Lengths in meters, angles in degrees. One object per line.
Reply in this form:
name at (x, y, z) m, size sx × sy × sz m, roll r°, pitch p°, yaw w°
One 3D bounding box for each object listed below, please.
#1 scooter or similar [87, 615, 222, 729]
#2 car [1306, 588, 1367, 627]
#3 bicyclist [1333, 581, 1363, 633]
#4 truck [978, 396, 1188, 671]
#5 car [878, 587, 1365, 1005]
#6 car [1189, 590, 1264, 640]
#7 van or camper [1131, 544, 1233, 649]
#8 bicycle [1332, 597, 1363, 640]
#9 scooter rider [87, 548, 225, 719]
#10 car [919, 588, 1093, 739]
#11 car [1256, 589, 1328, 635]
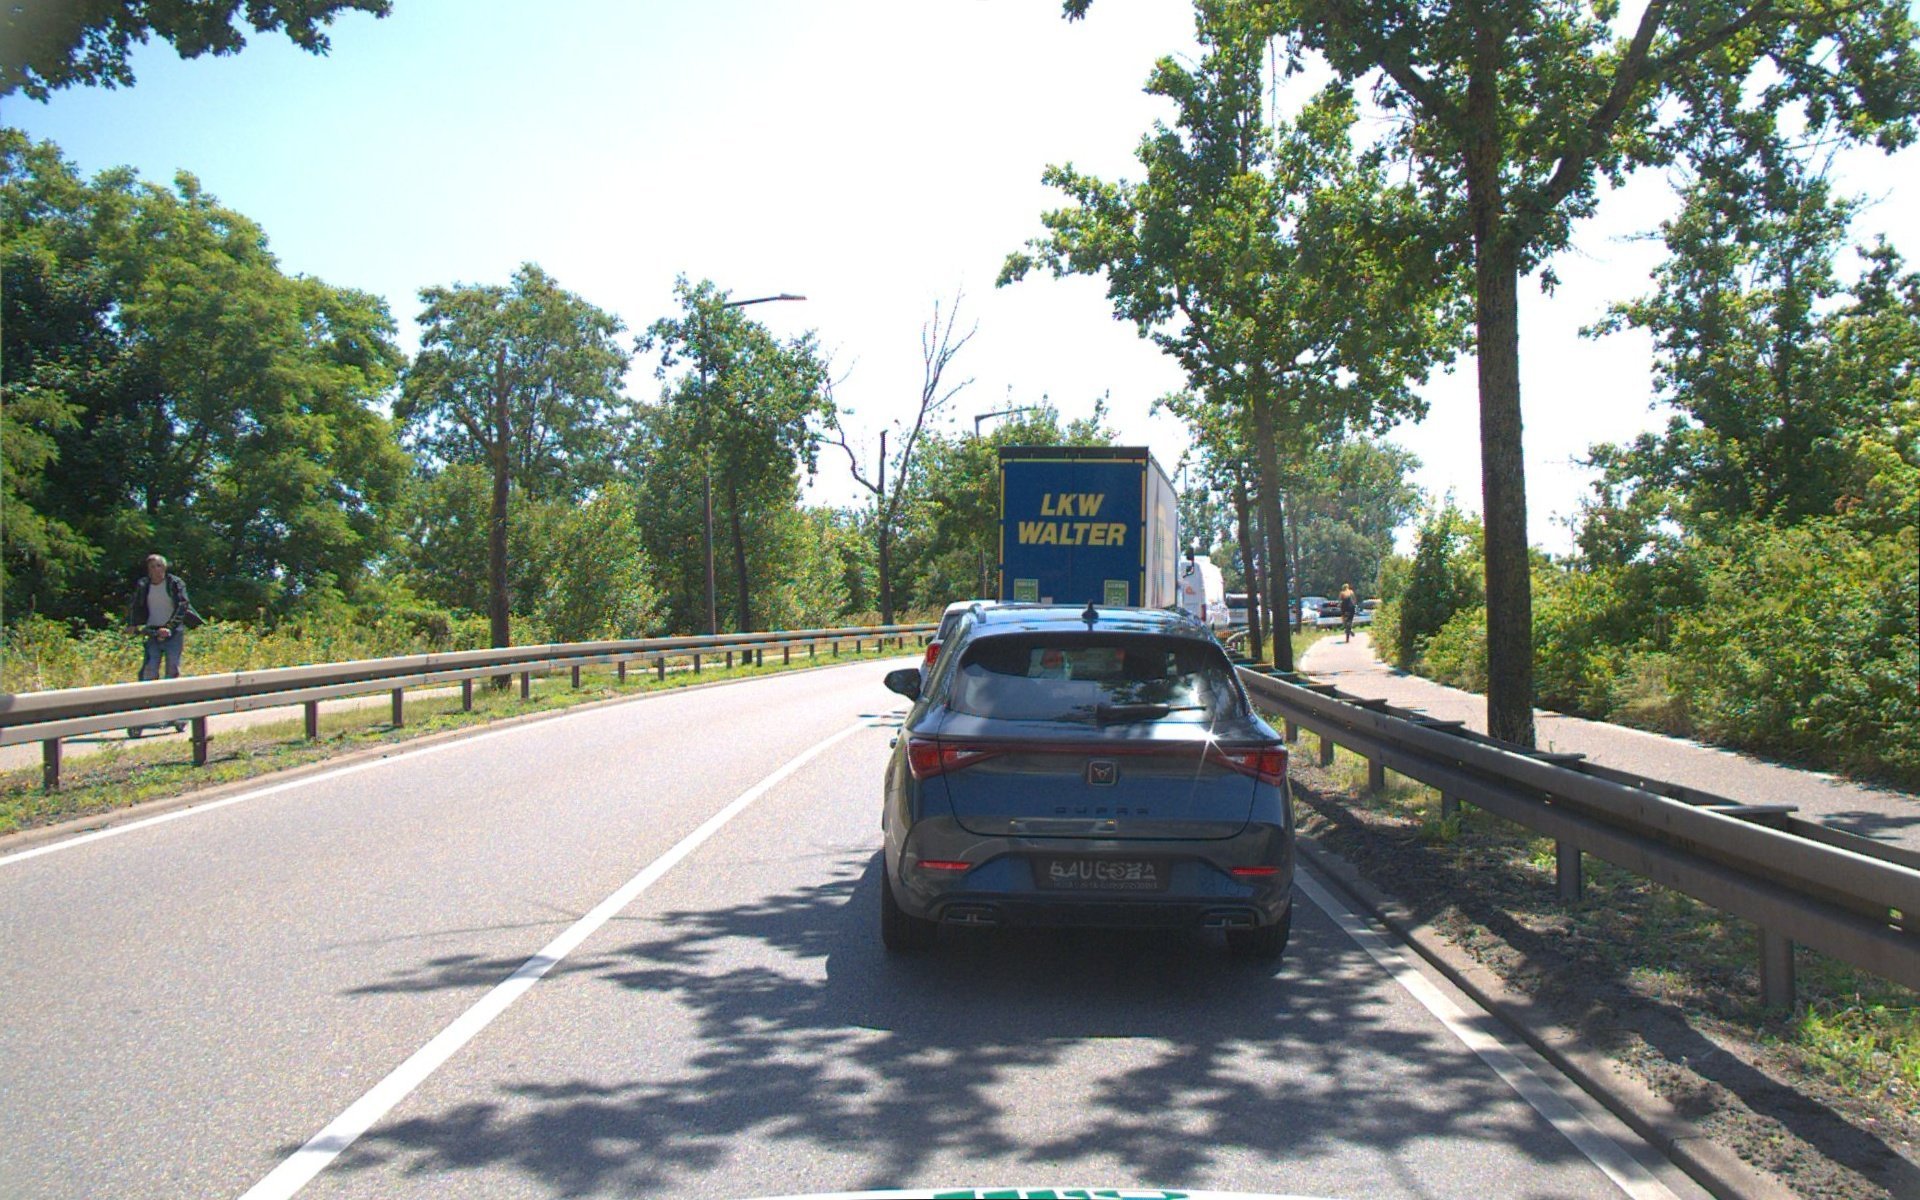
scooter or similar at (-8.239, 0.714, 16.955) m, size 0.760 × 1.110 × 1.096 m, roll 1°, pitch 0°, yaw 6°
car at (17.975, 0.358, 78.771) m, size 1.953 × 1.747 × 4.866 m, roll 1°, pitch 0°, yaw 23°
bicyclist at (11.840, 0.213, 50.466) m, size 0.842 × 1.550 × 0.981 m, roll 1°, pitch 0°, yaw 12°
truck at (3.170, -1.083, 35.768) m, size 2.887 × 4.526 × 16.812 m, roll 1°, pitch 0°, yaw 10°
car at (0.520, 0.700, 7.785) m, size 1.709 × 1.457 × 3.878 m, roll 1°, pitch 0°, yaw -2°
car at (9.919, 0.554, 61.343) m, size 1.952 × 1.742 × 4.621 m, roll 1°, pitch 0°, yaw 19°
van or camper at (6.965, -0.102, 51.301) m, size 2.414 × 3.051 × 6.091 m, roll 1°, pitch 0°, yaw 14°
bicycle at (11.828, 0.549, 50.475) m, size 0.842 × 1.258 × 2.311 m, roll 1°, pitch 0°, yaw 12°
scooter rider at (-8.236, 0.330, 16.982) m, size 0.760 × 1.686 × 1.121 m, roll 1°, pitch 0°, yaw 7°
car at (0.542, 0.657, 19.075) m, size 1.772 × 1.534 × 4.001 m, roll 1°, pitch 0°, yaw 2°
car at (13.980, 0.504, 69.462) m, size 1.953 × 1.840 × 4.843 m, roll 1°, pitch 0°, yaw 23°
